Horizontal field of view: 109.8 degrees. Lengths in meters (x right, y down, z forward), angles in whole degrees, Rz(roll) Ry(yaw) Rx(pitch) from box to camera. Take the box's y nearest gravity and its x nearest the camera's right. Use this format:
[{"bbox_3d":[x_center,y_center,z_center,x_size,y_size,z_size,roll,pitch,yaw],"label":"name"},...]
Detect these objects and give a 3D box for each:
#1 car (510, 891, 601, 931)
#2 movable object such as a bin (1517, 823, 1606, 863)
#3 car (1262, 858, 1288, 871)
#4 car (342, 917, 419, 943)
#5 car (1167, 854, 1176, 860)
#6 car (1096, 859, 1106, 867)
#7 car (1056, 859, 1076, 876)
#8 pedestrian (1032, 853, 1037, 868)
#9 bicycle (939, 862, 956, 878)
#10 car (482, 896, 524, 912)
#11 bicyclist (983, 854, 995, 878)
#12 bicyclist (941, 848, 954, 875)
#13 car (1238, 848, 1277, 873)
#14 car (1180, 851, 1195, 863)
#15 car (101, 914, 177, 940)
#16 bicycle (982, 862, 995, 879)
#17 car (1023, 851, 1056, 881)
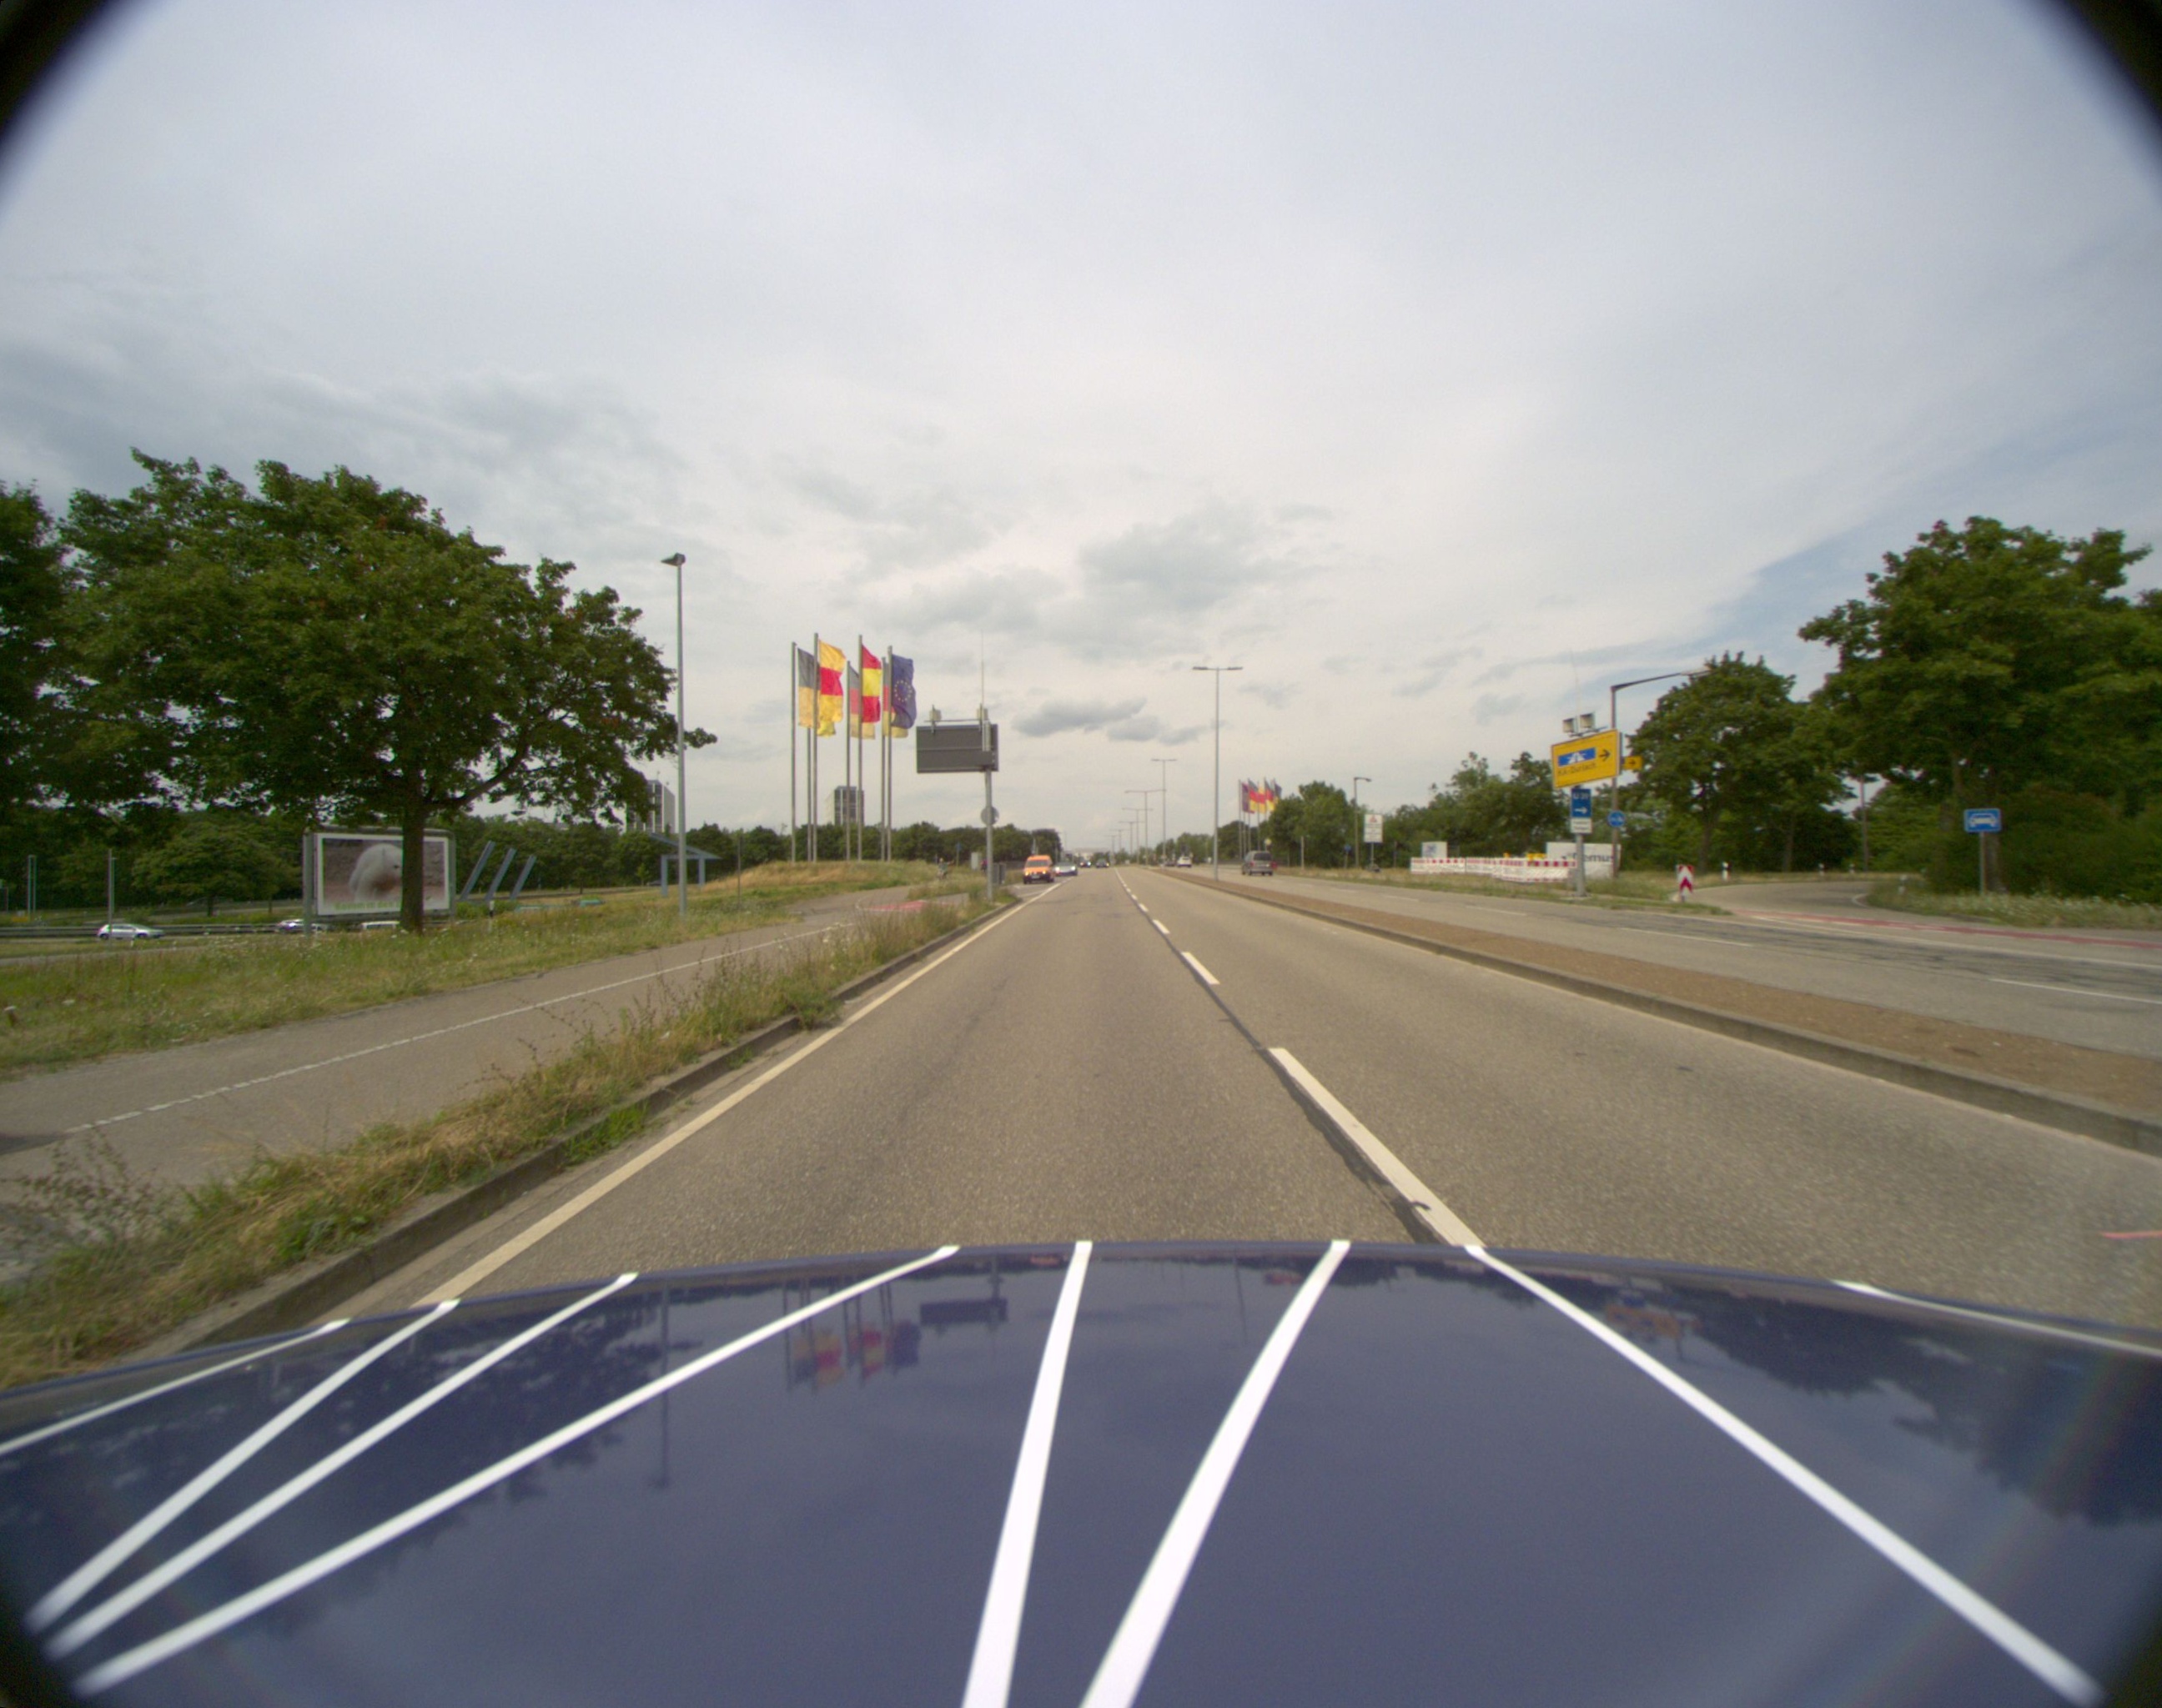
[{"bbox_3d":[-56.446,6.072,81.946,7.520,3.873,3.339,-1,-1,-24],"label":"car"},{"bbox_3d":[30.607,-0.692,48.471,4.593,2.382,1.999,-1,-1,-9],"label":"movable object such as a bin"},{"bbox_3d":[20.267,1.105,79.495,1.758,1.314,4.348,-1,-1,3],"label":"car"},{"bbox_3d":[-66.104,7.103,71.759,5.261,2.001,1.995,0,-1,-44],"label":"car"},{"bbox_3d":[22.014,0.706,184.078,1.998,1.365,4.578,0,0,5],"label":"car"},{"bbox_3d":[3.357,1.448,126.753,1.558,1.229,3.470,-2,-1,0],"label":"car"},{"bbox_3d":[-1.380,1.239,68.102,1.695,1.403,3.684,-2,-1,-1],"label":"car"},{"bbox_3d":[-6.061,0.869,99.339,0.628,2.001,0.668,1,0,2],"label":"pedestrian"},{"bbox_3d":[-8.146,0.968,46.450,0.625,0.883,2.154,-1,0,0],"label":"bicycle"},{"bbox_3d":[-76.506,6.605,100.623,4.003,2.001,1.875,-1,-1,-18],"label":"car"},{"bbox_3d":[-6.775,0.851,55.916,0.705,1.745,0.991,-1,0,0],"label":"bicyclist"},{"bbox_3d":[-8.114,0.450,46.329,0.623,1.656,0.669,2,-1,0],"label":"bicyclist"},{"bbox_3d":[13.357,0.512,57.781,1.907,1.798,4.540,-1,-1,0],"label":"car"},{"bbox_3d":[15.921,0.456,113.635,1.698,1.619,4.385,-1,-1,2],"label":"car"},{"bbox_3d":[-89.908,6.969,72.600,4.003,2.002,1.997,-3,0,-21],"label":"car"},{"bbox_3d":[-6.784,1.193,55.743,0.695,1.185,2.461,0,-1,0],"label":"bicycle"},{"bbox_3d":[-2.704,0.812,50.554,1.892,1.824,4.431,-2,-1,0],"label":"car"}]
